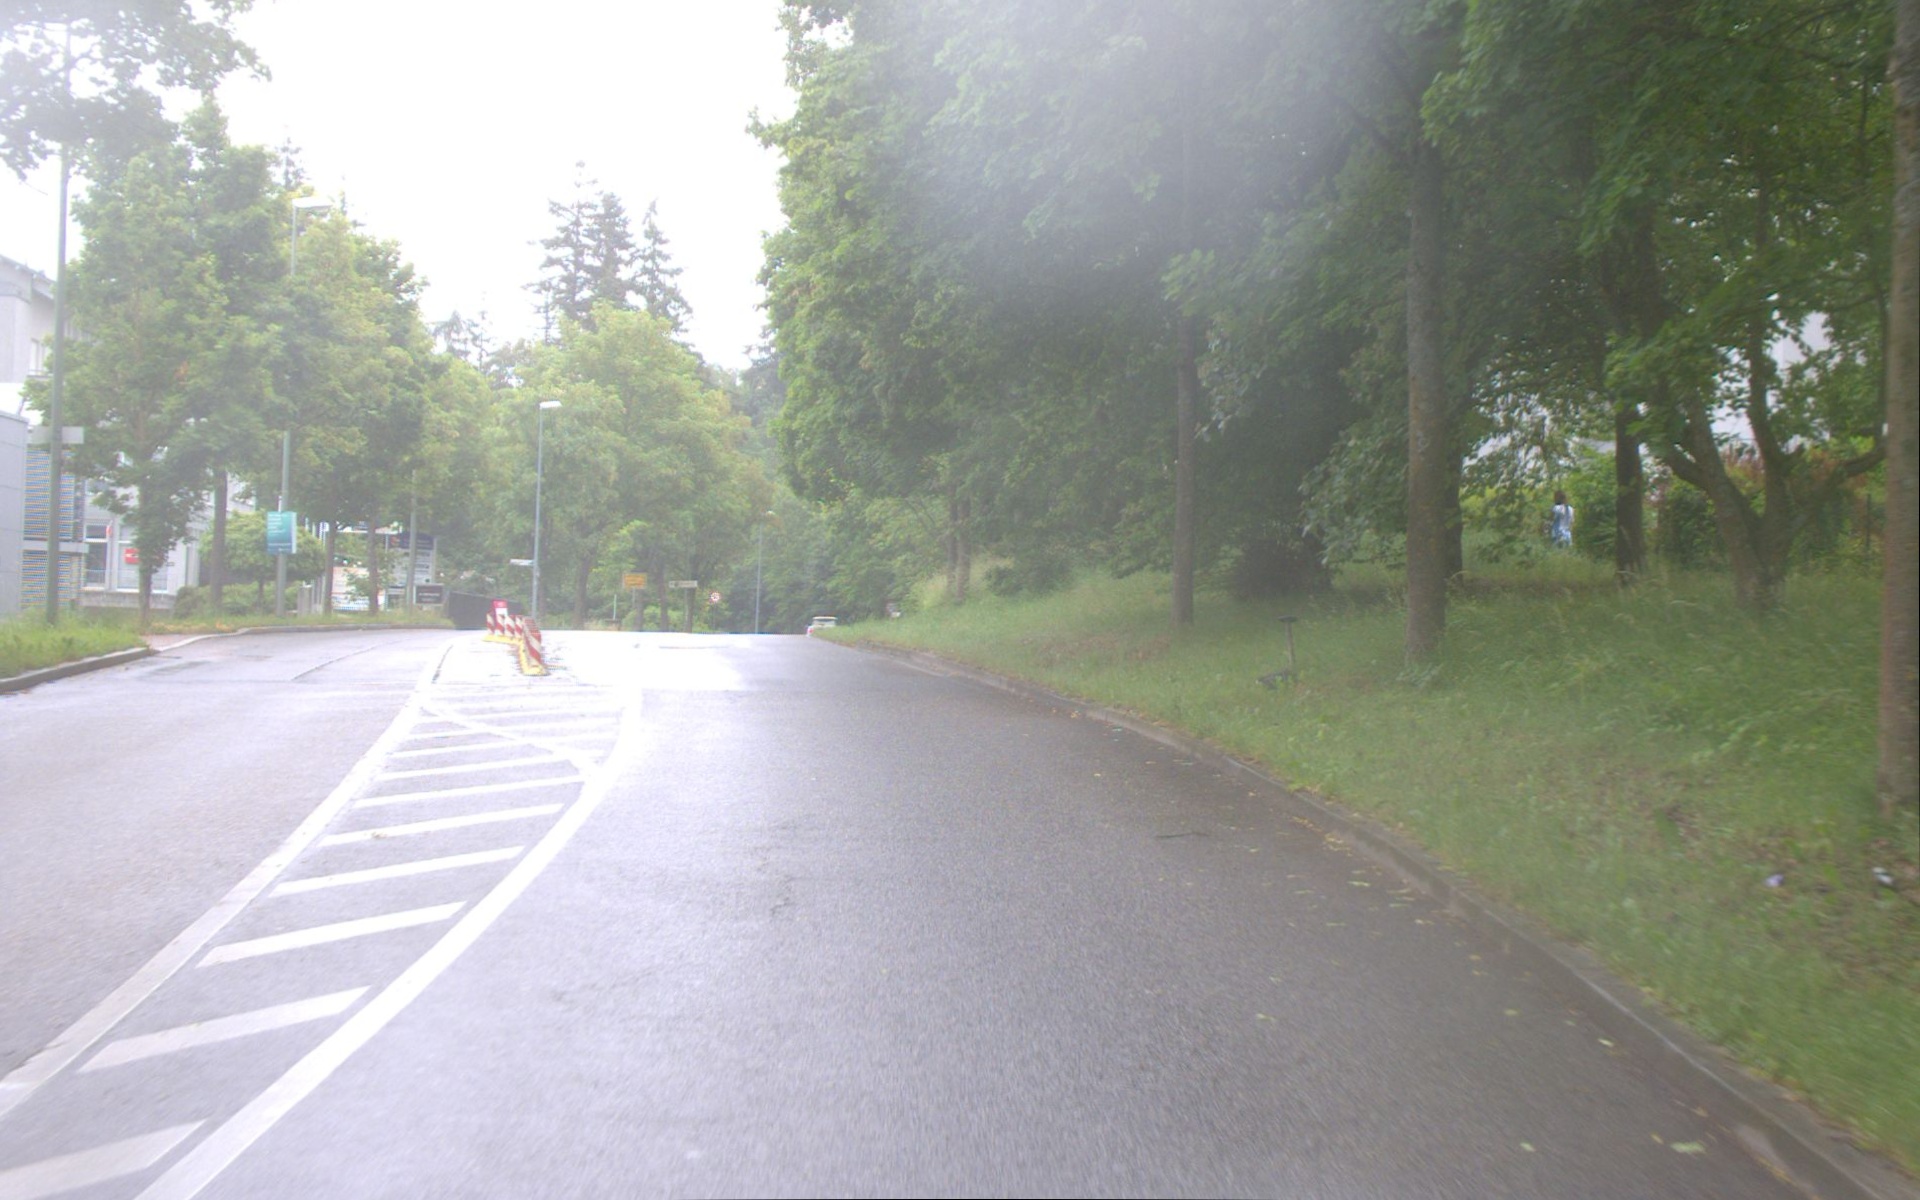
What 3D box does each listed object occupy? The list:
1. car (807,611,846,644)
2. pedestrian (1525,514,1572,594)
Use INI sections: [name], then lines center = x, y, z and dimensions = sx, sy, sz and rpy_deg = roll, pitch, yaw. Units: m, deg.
[car]
center = -6.123, 1.275, 157.769
dimensions = 1.736, 1.505, 4.000
rpy_deg = 0, -1, -2
[pedestrian]
center = 9.532, -0.749, 55.696
dimensions = 0.654, 1.280, 0.625
rpy_deg = 0, 1, -1
